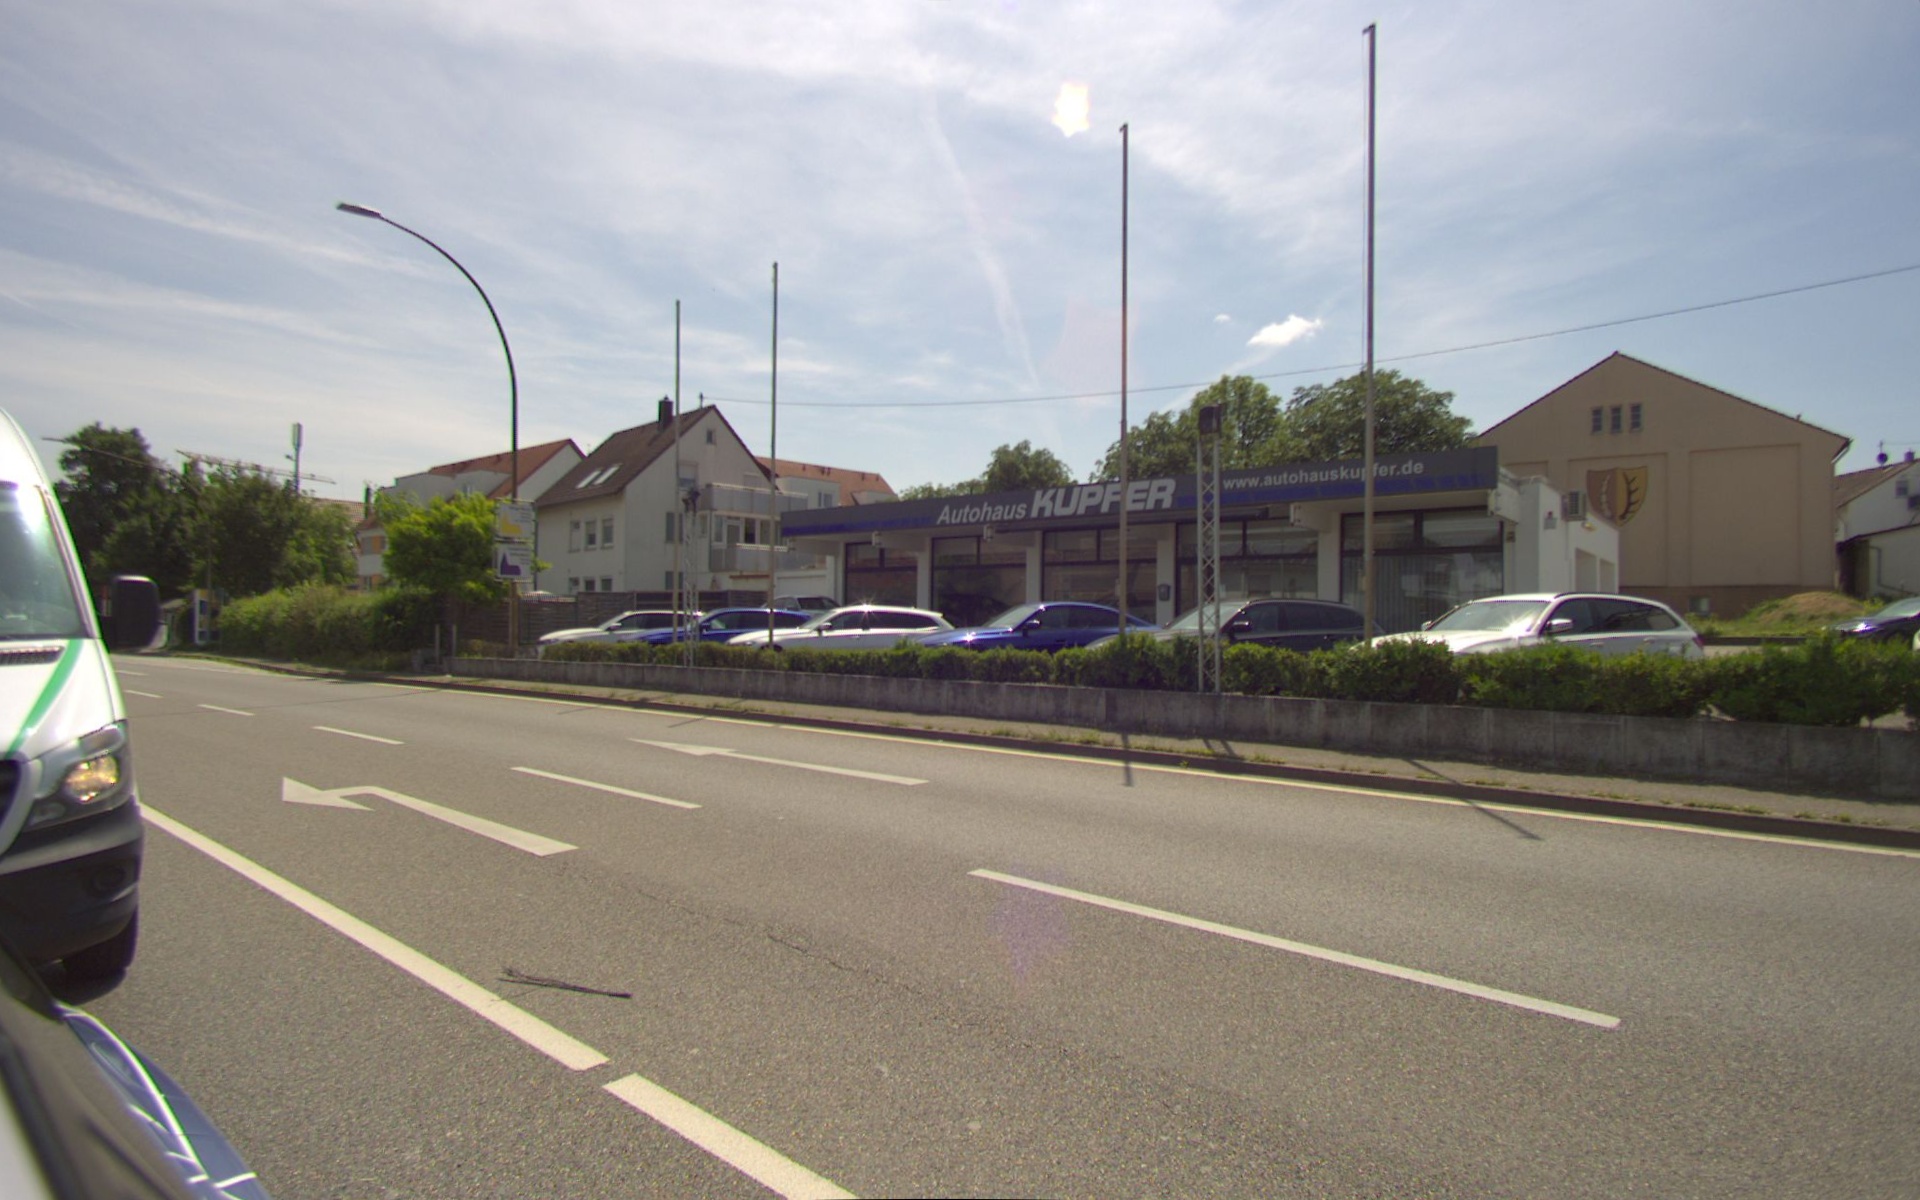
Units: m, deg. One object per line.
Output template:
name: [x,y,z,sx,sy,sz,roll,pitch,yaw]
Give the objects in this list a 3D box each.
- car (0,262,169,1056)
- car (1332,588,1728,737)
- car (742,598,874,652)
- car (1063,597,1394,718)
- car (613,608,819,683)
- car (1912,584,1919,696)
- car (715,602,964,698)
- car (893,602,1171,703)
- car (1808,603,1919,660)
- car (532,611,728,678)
car: [-5.597,0.235,4.713,5.745,2.548,1.914,-1,-1,40]
car: [6.671,0.614,11.834,4.267,1.458,1.863,-1,0,-24]
car: [-4.627,0.728,30.357,1.781,1.475,4.589,-1,0,-40]
car: [3.787,0.705,14.276,4.267,1.458,1.905,-1,0,-24]
car: [-5.461,0.956,22.627,4.267,1.458,1.863,-1,0,-21]
car: [15.143,0.505,14.236,3.934,1.521,1.839,-1,-1,-36]
car: [-2.358,0.894,19.668,4.438,1.458,1.863,-3,1,-19]
car: [1.208,0.795,17.012,4.267,1.458,1.863,-1,0,-22]
car: [23.497,0.723,24.715,3.946,1.231,1.791,-2,0,2]
car: [-8.235,1.061,25.352,4.501,1.458,1.863,-1,0,-21]
